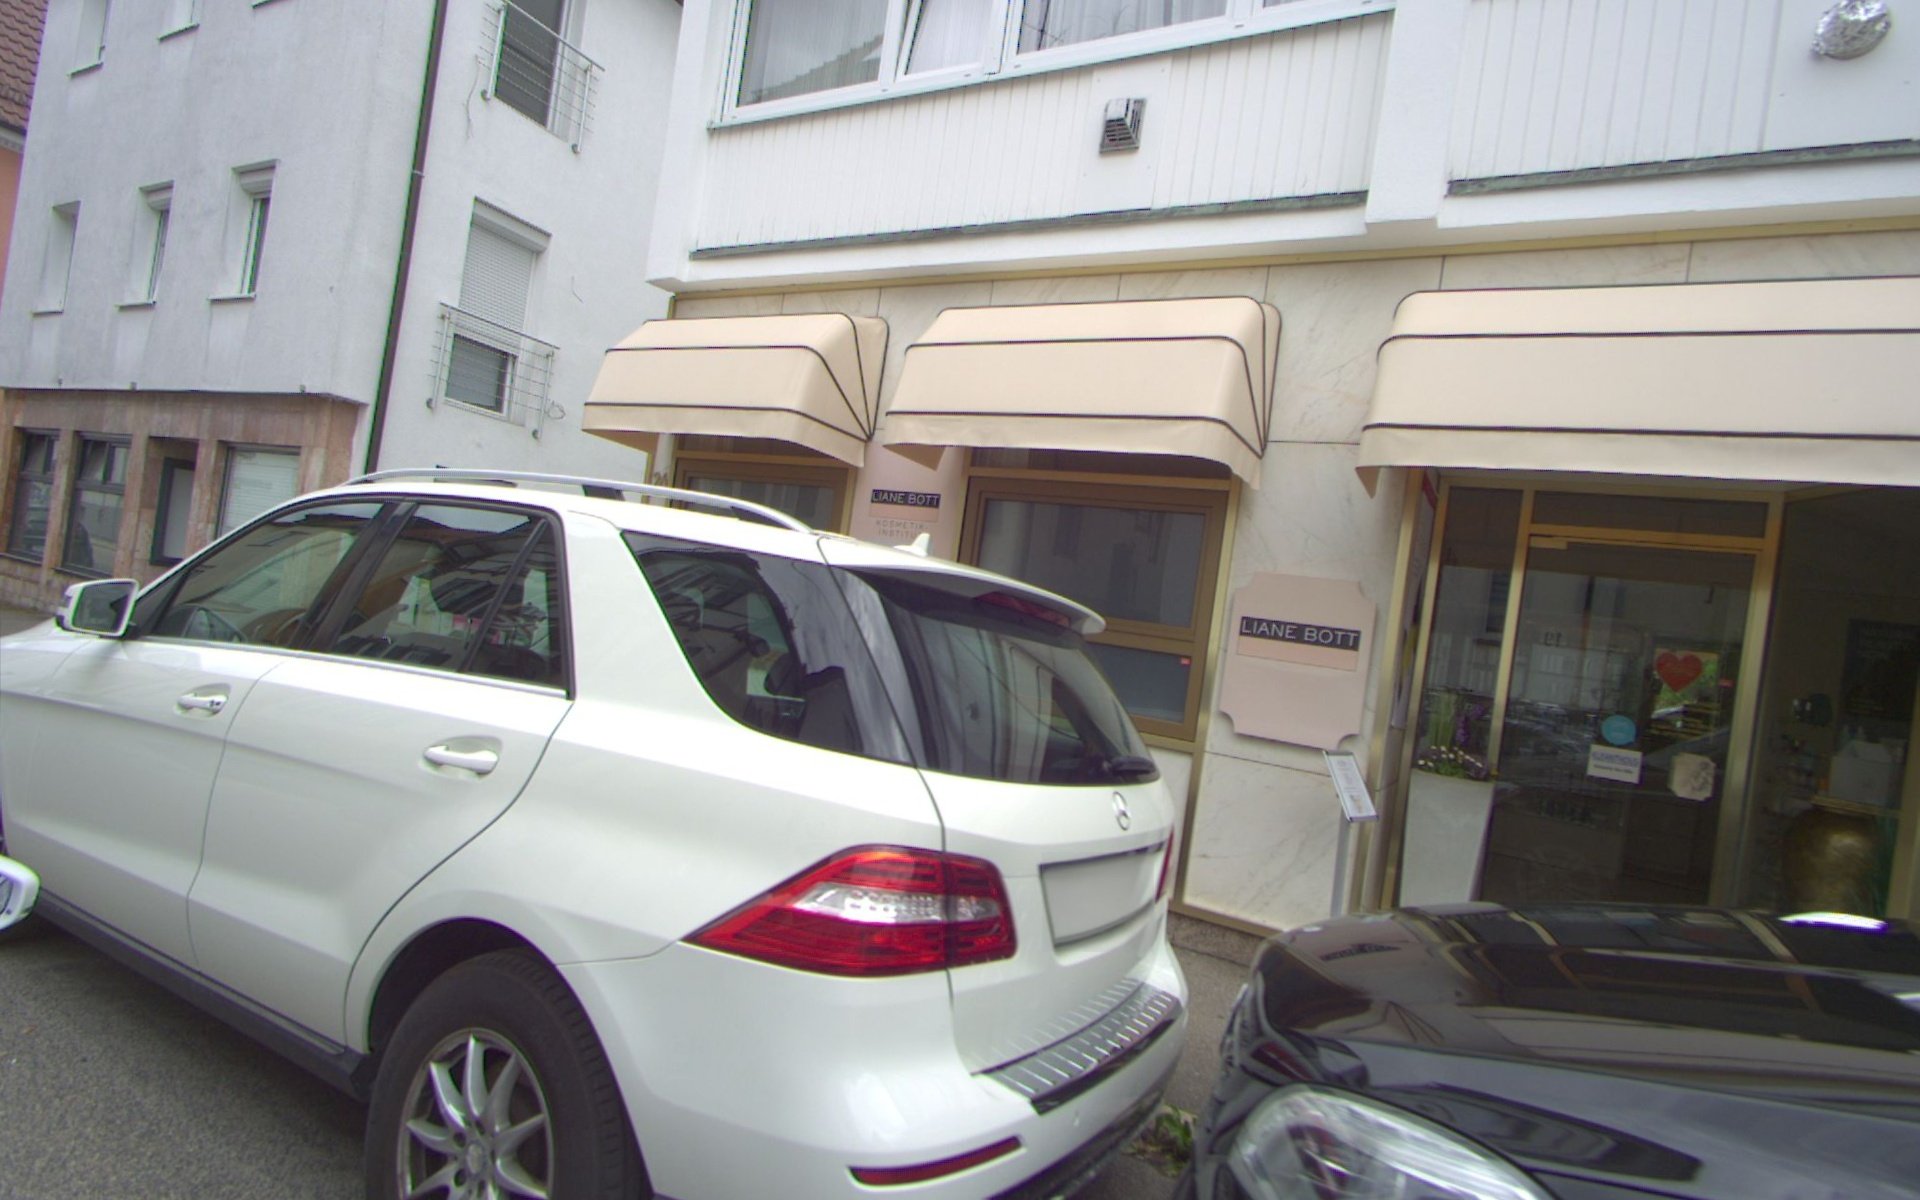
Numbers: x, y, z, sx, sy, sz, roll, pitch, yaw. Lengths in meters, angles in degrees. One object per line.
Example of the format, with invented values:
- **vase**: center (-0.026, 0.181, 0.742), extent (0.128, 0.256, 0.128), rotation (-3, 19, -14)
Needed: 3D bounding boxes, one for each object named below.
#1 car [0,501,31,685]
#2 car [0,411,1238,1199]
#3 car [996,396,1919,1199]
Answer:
- **car**: center (-9.773, -0.321, 8.473), extent (3.719, 1.492, 1.778), rotation (7, -2, 31)
- **car**: center (-1.546, 0.510, 3.403), extent (4.301, 1.731, 1.939), rotation (8, -2, 29)
- **car**: center (2.362, 0.968, 0.949), extent (4.295, 1.799, 1.947), rotation (6, -4, 31)
